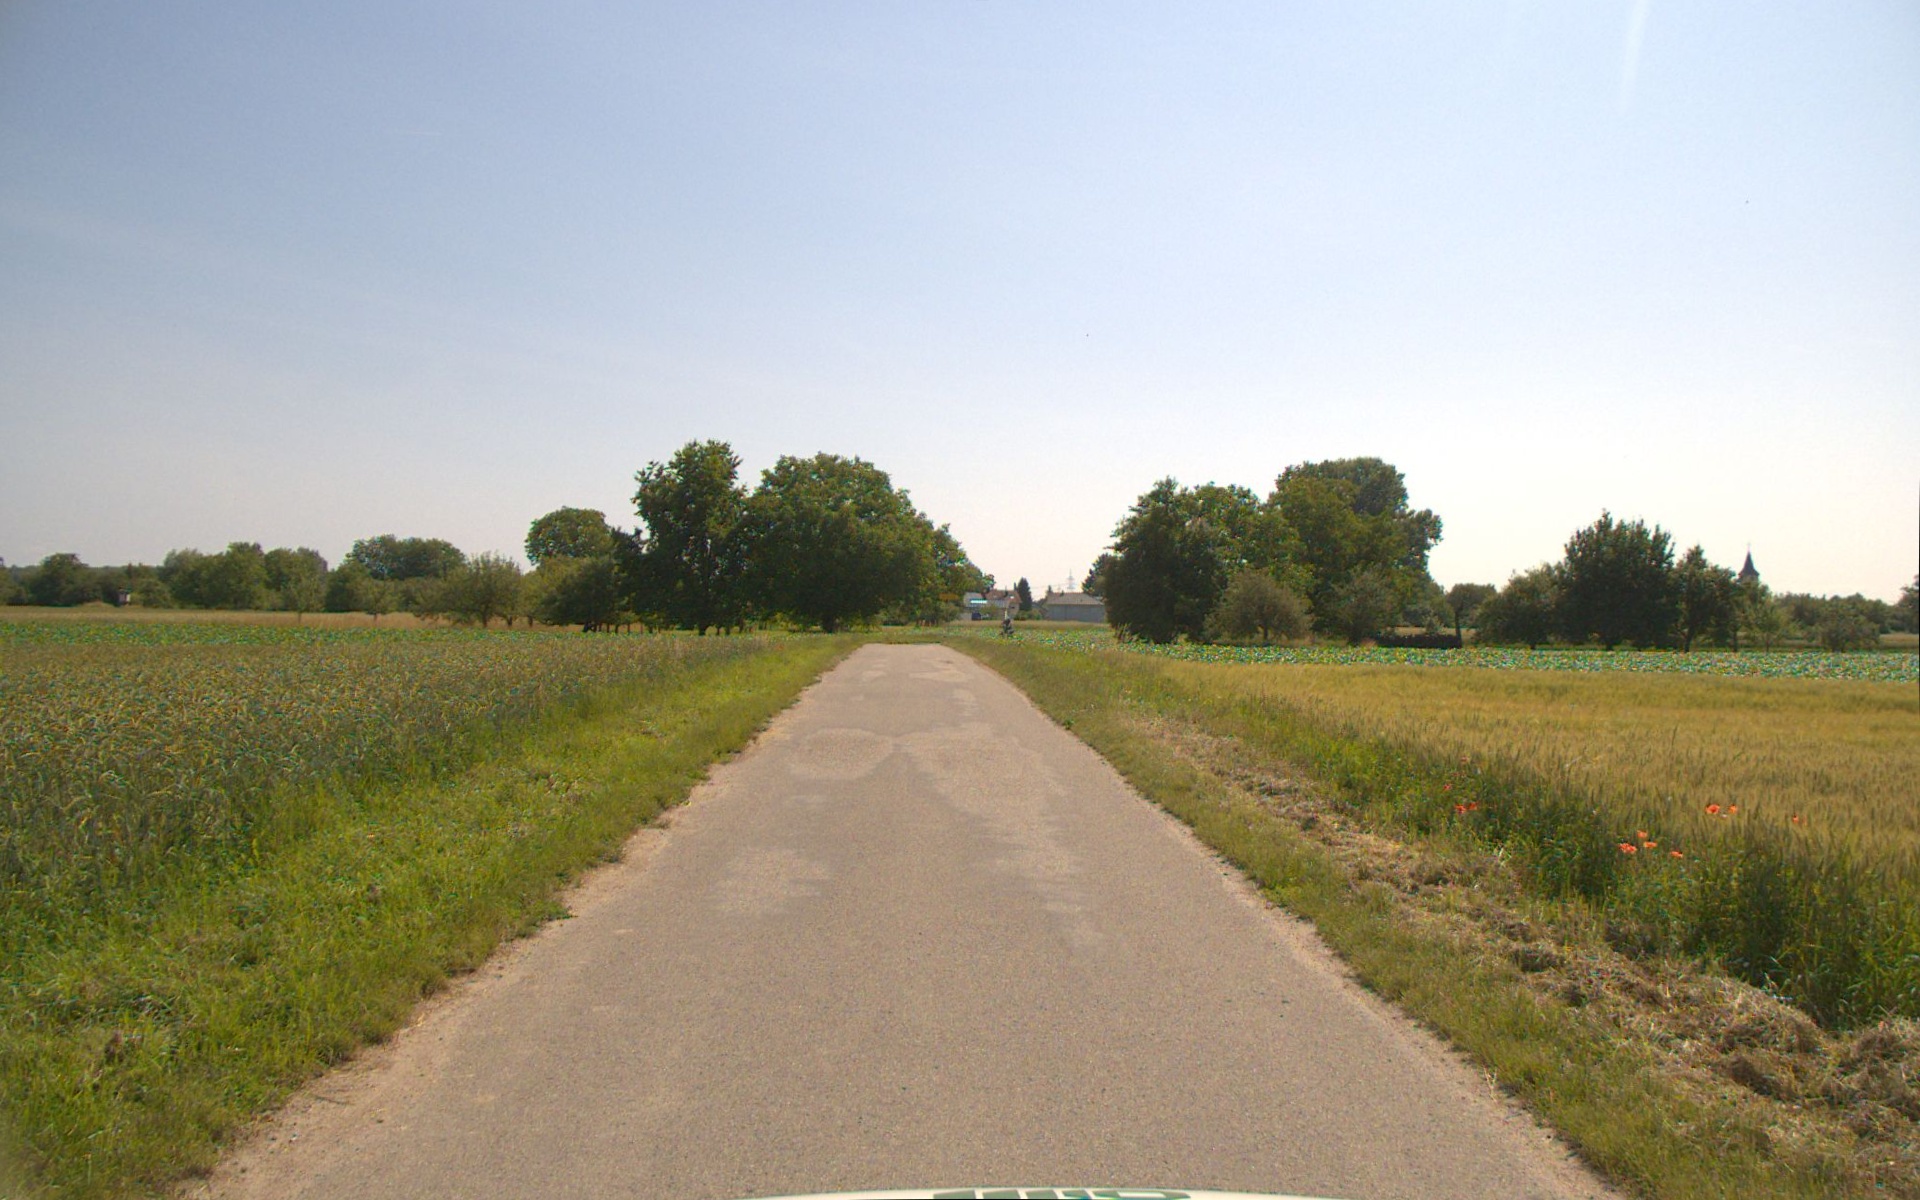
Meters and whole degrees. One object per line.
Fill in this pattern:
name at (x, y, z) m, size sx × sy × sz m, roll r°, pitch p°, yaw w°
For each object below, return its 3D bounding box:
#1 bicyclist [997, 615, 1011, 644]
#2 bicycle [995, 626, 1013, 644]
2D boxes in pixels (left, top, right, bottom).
bicyclist at (2.796, 1.887, 104.683) m, size 0.734 × 1.823 × 0.717 m, roll -1°, pitch -1°, yaw 12°
bicycle at (2.797, 2.217, 104.673) m, size 0.734 × 1.147 × 1.910 m, roll -1°, pitch -1°, yaw 12°
